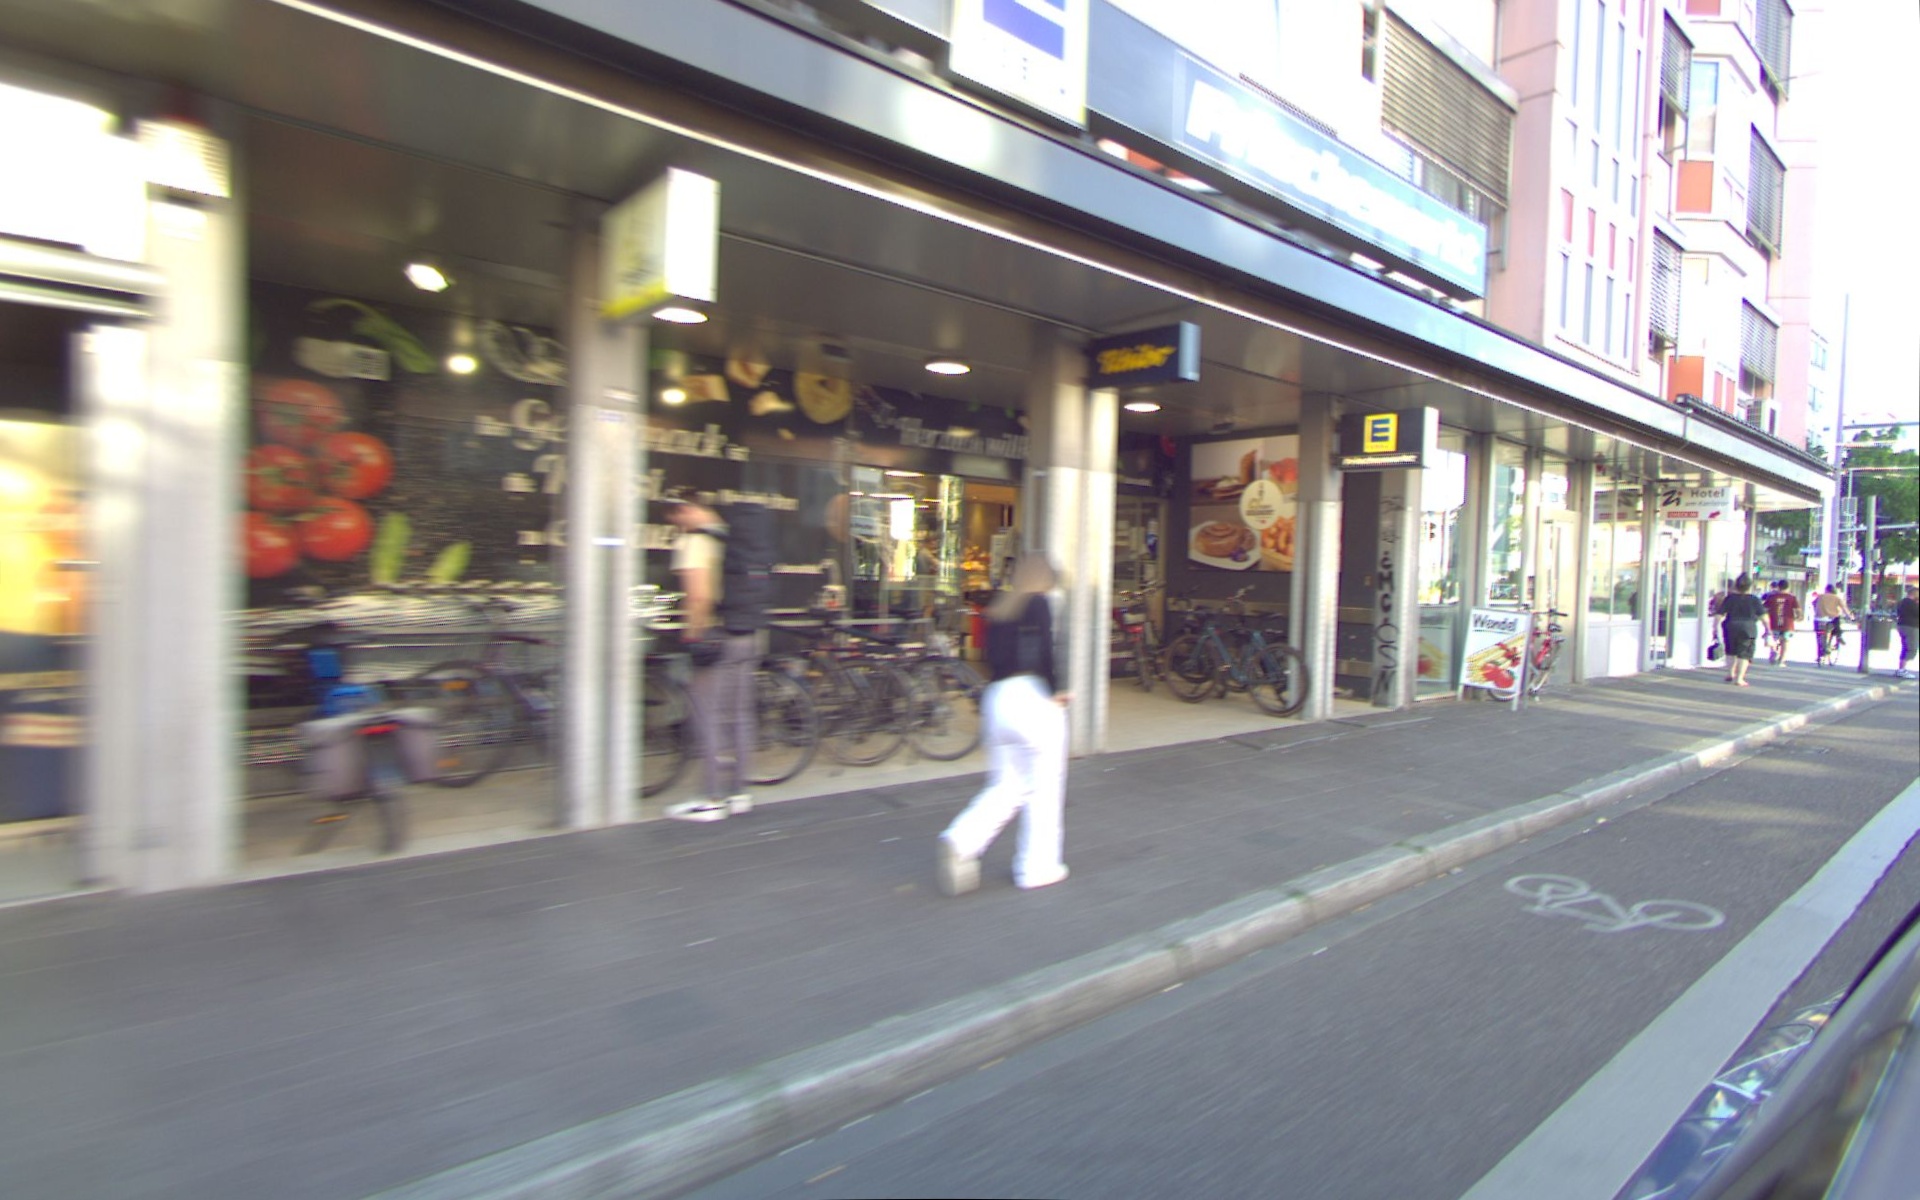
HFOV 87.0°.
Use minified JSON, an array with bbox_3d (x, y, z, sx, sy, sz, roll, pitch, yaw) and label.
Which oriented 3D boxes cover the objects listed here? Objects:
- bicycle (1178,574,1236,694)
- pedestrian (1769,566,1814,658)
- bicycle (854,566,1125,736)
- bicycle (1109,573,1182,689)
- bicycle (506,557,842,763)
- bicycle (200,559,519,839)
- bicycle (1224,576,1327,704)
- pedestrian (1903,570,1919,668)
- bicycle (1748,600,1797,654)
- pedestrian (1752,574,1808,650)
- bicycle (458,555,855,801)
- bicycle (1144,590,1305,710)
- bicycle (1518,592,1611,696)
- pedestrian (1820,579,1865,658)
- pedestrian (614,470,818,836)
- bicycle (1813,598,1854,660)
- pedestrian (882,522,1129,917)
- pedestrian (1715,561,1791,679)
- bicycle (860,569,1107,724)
[{"bbox_3d":[2.707,0.327,11.173,0.415,1.214,1.479,2,2,7],"label":"bicycle"},{"bbox_3d":[16.558,0.225,20.152,0.668,1.783,0.670,1,0,41],"label":"pedestrian"},{"bbox_3d":[0.234,0.380,7.984,2.040,1.252,0.558,1,1,-16],"label":"bicycle"},{"bbox_3d":[2.123,0.311,11.475,0.418,1.214,1.469,2,2,25],"label":"bicycle"},{"bbox_3d":[-1.874,0.368,6.788,2.071,1.269,0.578,0,0,-16],"label":"bicycle"},{"bbox_3d":[-2.895,0.444,4.908,1.362,1.252,0.409,1,1,7],"label":"bicycle"},{"bbox_3d":[3.243,0.371,10.524,0.473,1.214,1.483,1,2,-4],"label":"bicycle"},{"bbox_3d":[18.574,0.365,19.376,0.676,1.866,0.598,1,0,37],"label":"pedestrian"},{"bbox_3d":[19.098,0.611,23.814,0.478,1.187,1.744,1,1,25],"label":"bicycle"},{"bbox_3d":[19.234,0.268,23.744,0.819,1.732,0.779,1,0,24],"label":"pedestrian"},{"bbox_3d":[-1.659,0.406,5.713,2.040,1.267,0.472,1,1,-16],"label":"bicycle"},{"bbox_3d":[2.566,0.457,9.958,0.427,1.054,1.512,2,1,-43],"label":"bicycle"},{"bbox_3d":[7.136,0.484,11.923,1.382,1.141,0.516,0,2,-42],"label":"bicycle"},{"bbox_3d":[18.581,0.367,21.315,0.650,1.627,0.588,1,0,36],"label":"pedestrian"},{"bbox_3d":[-1.273,0.228,5.283,0.783,1.742,0.585,5,3,32],"label":"pedestrian"},{"bbox_3d":[18.257,0.577,21.164,0.427,1.229,1.802,1,1,34],"label":"bicycle"},{"bbox_3d":[0.201,0.455,4.480,0.776,1.539,0.666,0,5,-44],"label":"pedestrian"},{"bbox_3d":[11.497,0.273,14.684,0.486,1.633,0.708,0,3,-40],"label":"pedestrian"},{"bbox_3d":[0.205,0.384,8.770,2.040,1.252,0.558,1,1,-16],"label":"bicycle"}]
